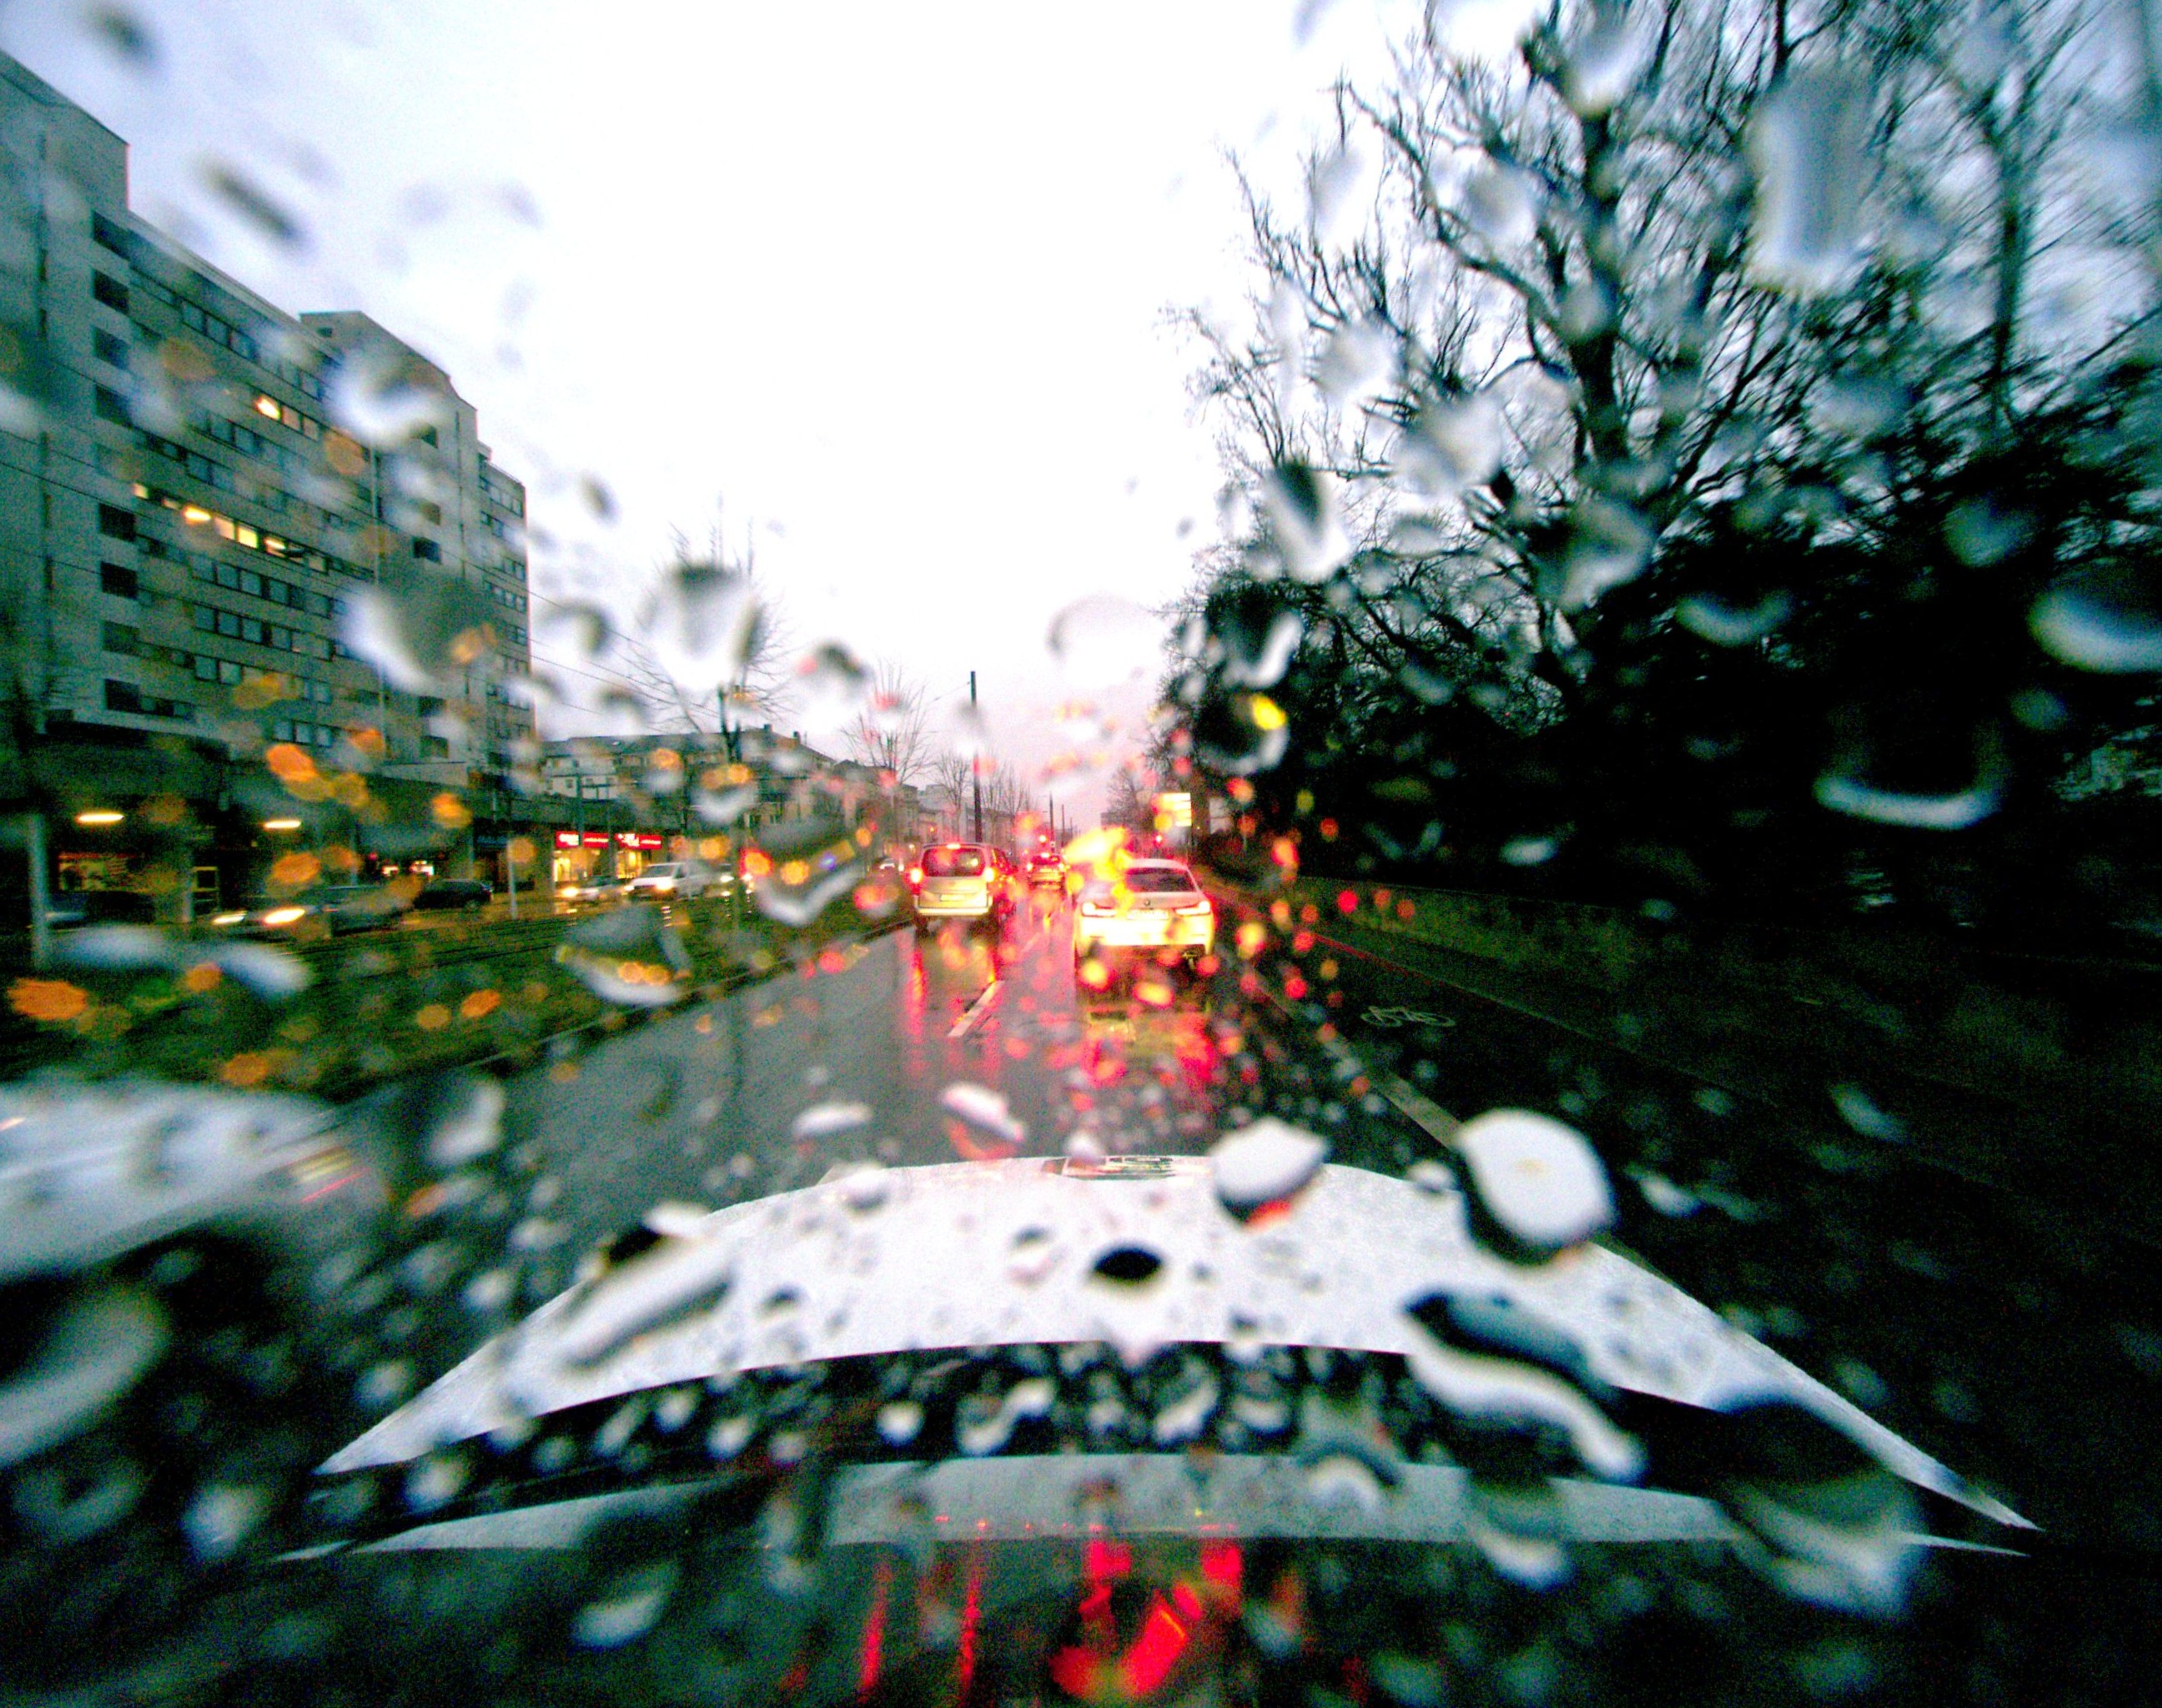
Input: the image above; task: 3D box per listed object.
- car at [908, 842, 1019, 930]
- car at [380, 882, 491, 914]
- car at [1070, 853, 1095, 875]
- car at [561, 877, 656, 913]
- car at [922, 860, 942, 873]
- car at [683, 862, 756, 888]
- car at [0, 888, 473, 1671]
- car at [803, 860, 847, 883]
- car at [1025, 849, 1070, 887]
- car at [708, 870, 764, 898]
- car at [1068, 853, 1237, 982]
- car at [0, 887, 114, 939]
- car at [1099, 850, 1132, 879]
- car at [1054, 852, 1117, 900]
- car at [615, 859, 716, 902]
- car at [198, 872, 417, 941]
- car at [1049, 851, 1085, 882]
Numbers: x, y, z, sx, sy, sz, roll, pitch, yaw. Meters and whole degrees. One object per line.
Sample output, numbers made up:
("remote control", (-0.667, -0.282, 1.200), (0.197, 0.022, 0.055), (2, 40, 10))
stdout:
("car", (-2.524, 0.645, 18.565), (1.787, 1.736, 4.538), (-1, 0, 1))
("car", (-31.021, 2.083, 39.283), (4.015, 1.387, 1.916), (1, -1, -34))
("car", (0.175, 0.758, 63.069), (1.800, 1.646, 4.002), (-1, 0, 2))
("car", (-24.025, 2.034, 41.672), (1.889, 1.516, 4.794), (-2, 0, 2))
("car", (-20.642, 1.713, 112.817), (1.890, 1.634, 4.578), (-2, 0, -1))
("car", (-30.103, 1.744, 67.916), (5.193, 1.912, 1.975), (-2, 0, -44))
("car", (-2.947, 0.812, 0.349), (1.840, 1.405, 4.615), (-1, 0, 1))
("car", (-21.658, 1.456, 69.107), (1.888, 1.719, 4.919), (-2, 0, 2))
("car", (-1.508, 0.630, 37.890), (1.800, 1.646, 4.002), (-1, 0, 2))
("car", (-24.833, 2.134, 58.827), (1.889, 1.813, 4.532), (-2, 0, 2))
("car", (0.926, 0.755, 11.838), (1.992, 1.508, 4.165), (-1, 0, 2))
("car", (-38.652, 2.179, 29.789), (4.347, 1.695, 1.727), (-2, 0, -1))
("car", (2.017, 0.588, 47.964), (1.800, 1.646, 4.002), (-1, 0, 2))
("car", (0.214, 0.685, 27.495), (1.928, 1.457, 4.165), (-1, 0, 2))
("car", (-19.063, 1.151, 37.665), (1.889, 1.719, 5.120), (-2, 0, 2))
("car", (-19.223, 1.244, 20.501), (1.889, 1.431, 3.707), (-2, 0, 1))
("car", (-0.805, 0.731, 48.513), (1.986, 1.755, 4.001), (-1, 0, 1))
